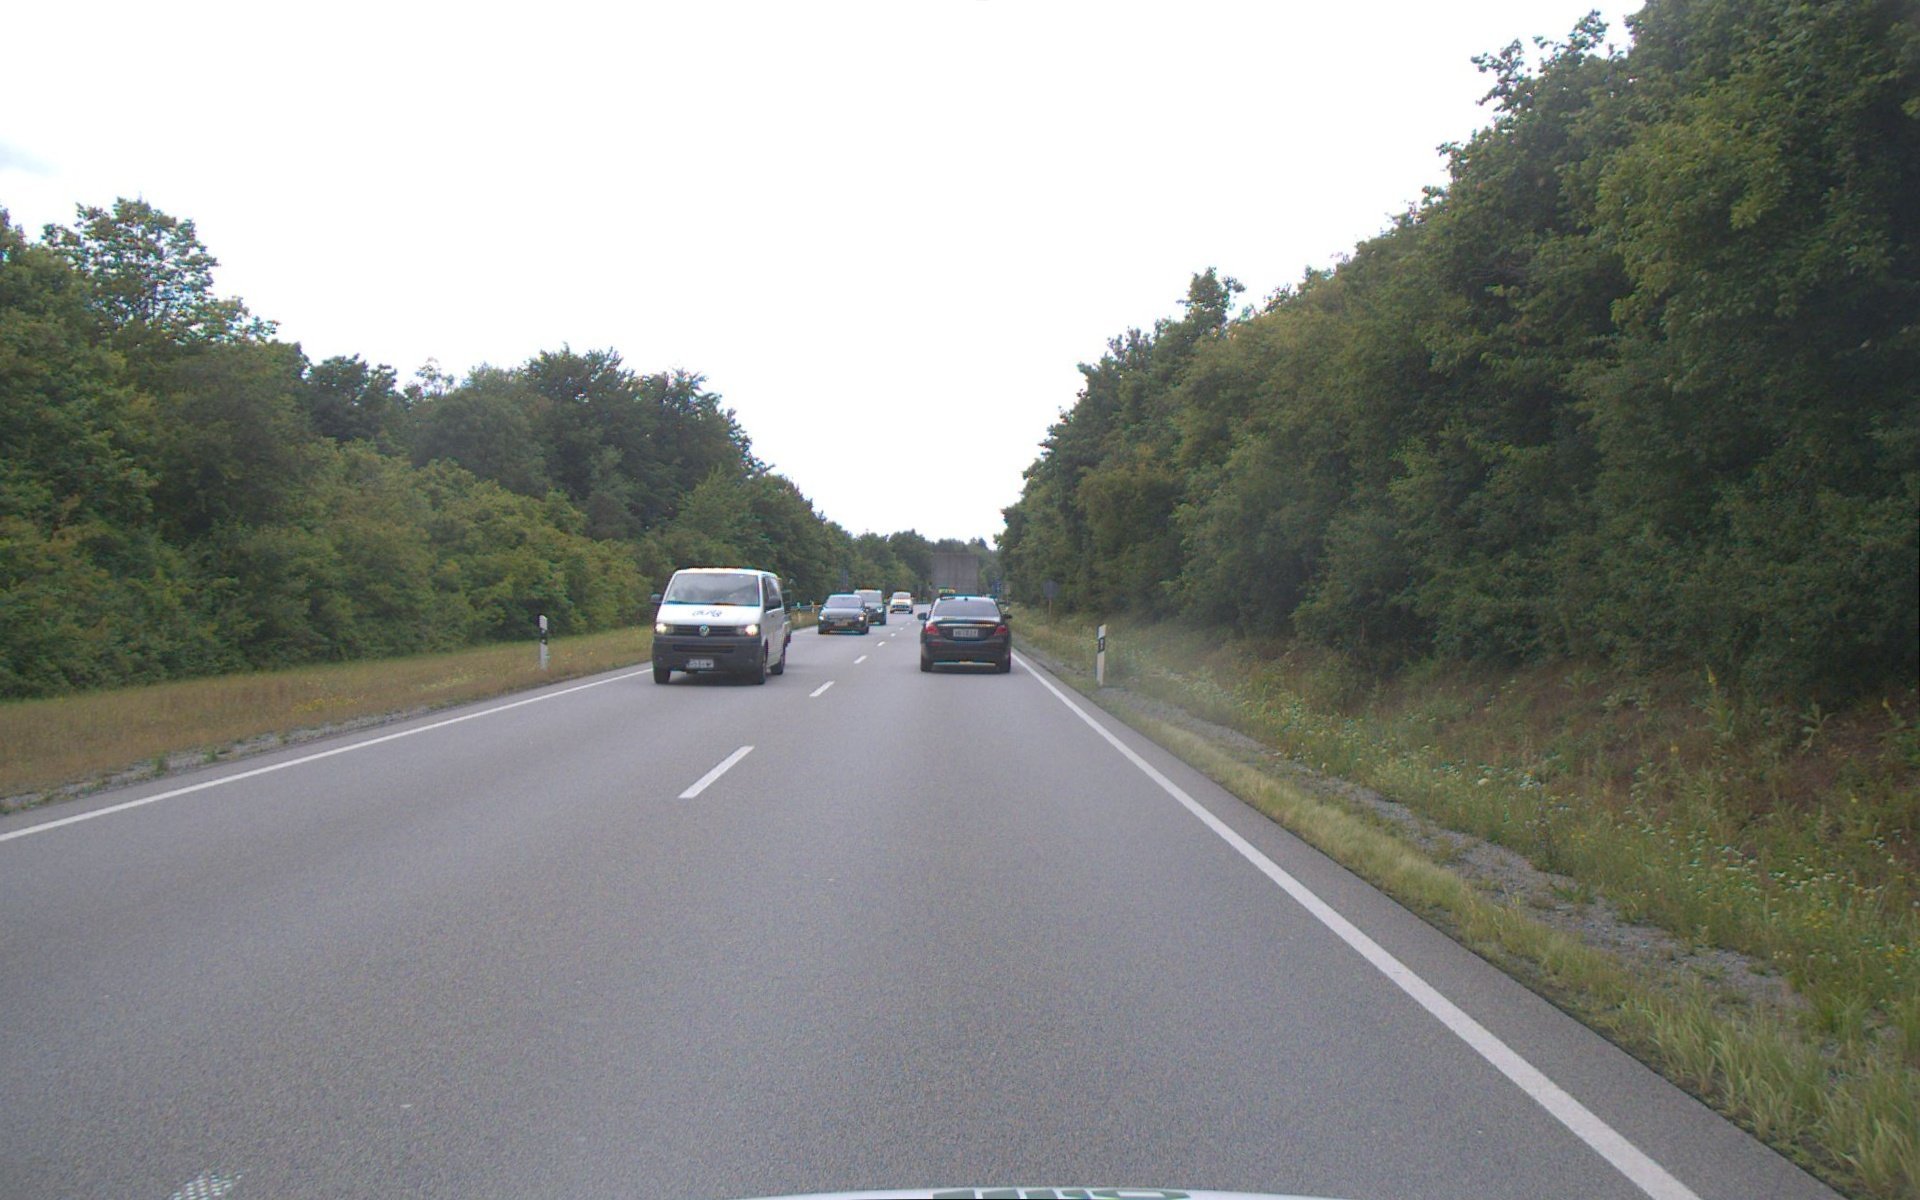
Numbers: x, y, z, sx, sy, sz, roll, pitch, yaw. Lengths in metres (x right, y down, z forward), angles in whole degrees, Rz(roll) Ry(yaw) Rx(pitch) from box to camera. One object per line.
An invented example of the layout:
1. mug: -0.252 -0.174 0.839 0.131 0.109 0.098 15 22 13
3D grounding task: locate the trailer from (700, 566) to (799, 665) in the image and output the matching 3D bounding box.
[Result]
1. trailer: -4.311 0.300 34.350 1.589 1.926 3.783 1 0 -1

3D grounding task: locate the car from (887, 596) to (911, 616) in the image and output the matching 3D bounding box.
1. car: -4.964 0.491 134.681 1.837 1.587 3.754 1 0 -1

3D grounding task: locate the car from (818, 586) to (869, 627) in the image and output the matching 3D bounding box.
1. car: -4.469 0.247 63.915 1.654 1.505 4.455 1 0 -1

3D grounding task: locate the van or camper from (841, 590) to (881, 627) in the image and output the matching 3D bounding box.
1. van or camper: -5.002 0.410 83.456 1.954 1.814 4.418 1 0 -4

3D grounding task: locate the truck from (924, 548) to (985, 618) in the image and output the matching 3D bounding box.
1. truck: -0.281 -0.896 93.784 3.214 3.675 11.399 1 0 0

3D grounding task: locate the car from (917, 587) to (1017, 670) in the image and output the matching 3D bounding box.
1. car: 0.091 0.542 33.832 1.756 1.579 3.997 1 0 -4

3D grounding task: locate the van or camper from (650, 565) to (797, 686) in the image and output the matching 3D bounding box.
1. van or camper: -4.085 0.415 29.392 1.882 1.926 5.361 1 0 -1
